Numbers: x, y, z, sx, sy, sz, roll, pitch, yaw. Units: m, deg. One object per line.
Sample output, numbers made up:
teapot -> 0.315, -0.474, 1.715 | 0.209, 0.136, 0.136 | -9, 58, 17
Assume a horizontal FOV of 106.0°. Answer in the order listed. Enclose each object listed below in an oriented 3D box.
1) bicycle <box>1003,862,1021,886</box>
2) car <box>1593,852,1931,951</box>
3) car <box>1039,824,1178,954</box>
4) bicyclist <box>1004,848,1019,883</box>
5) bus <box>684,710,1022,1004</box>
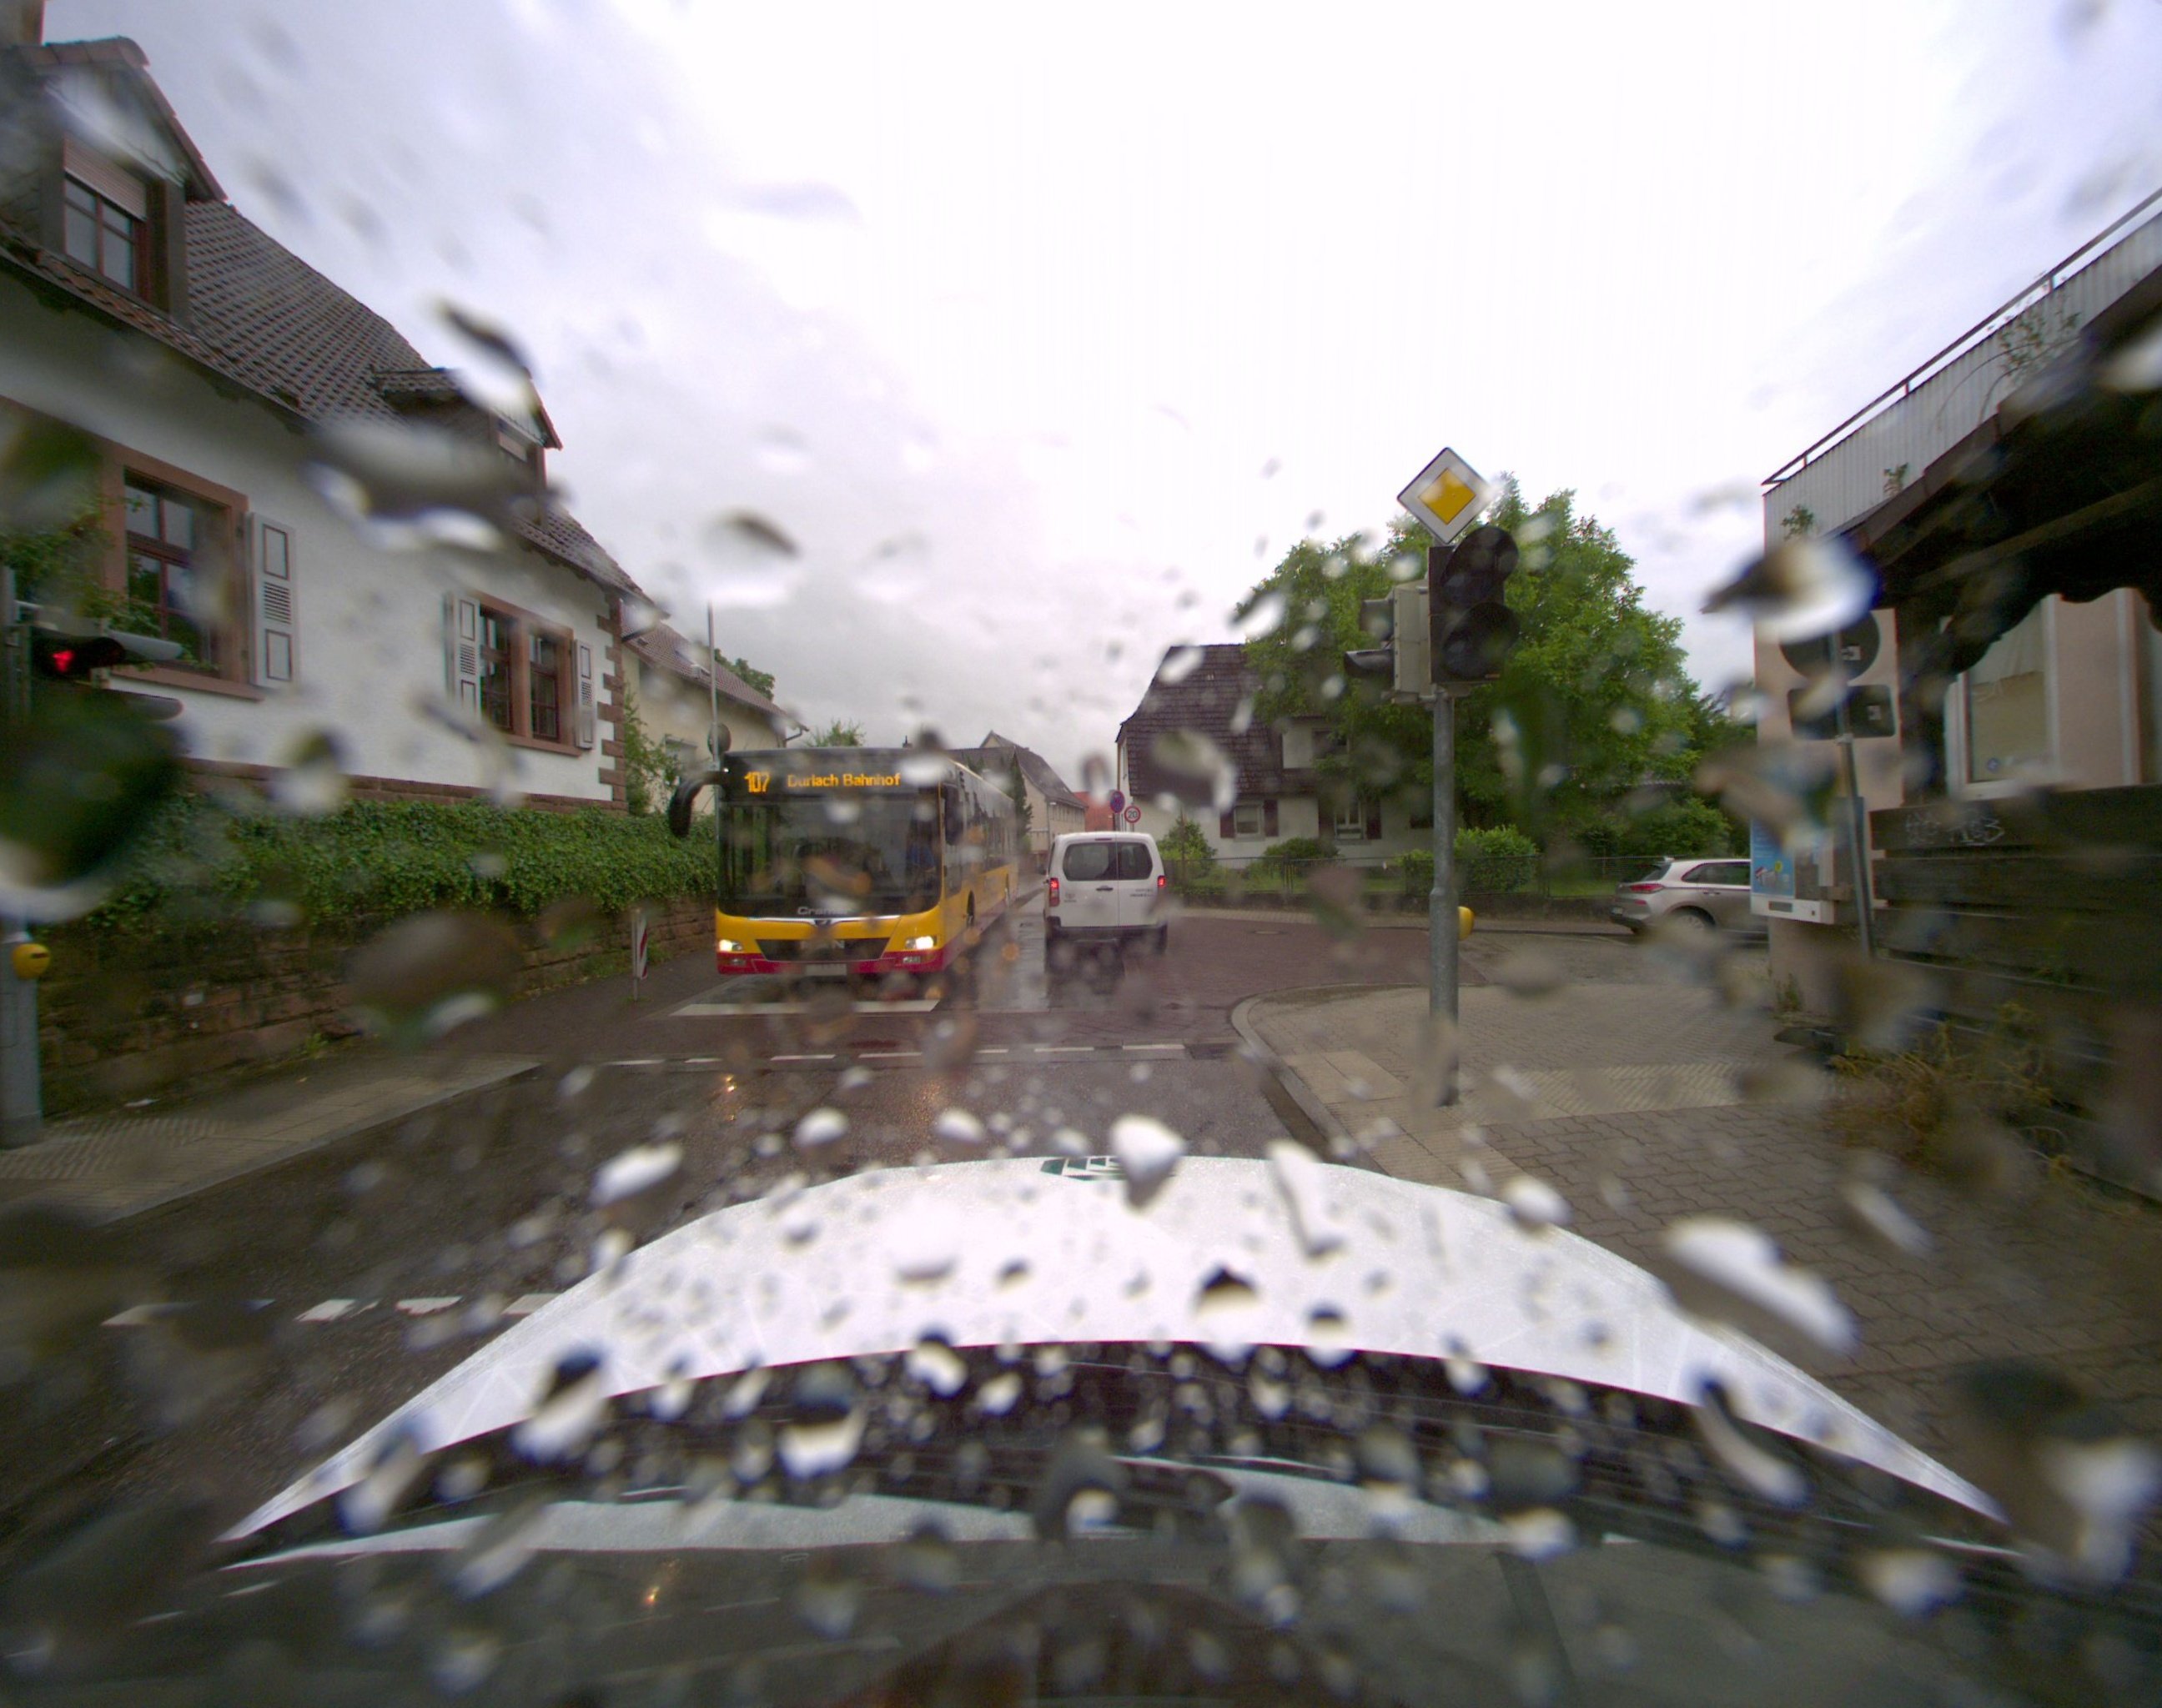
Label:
bicycle -> -3.500, 0.988, 41.304 | 0.543, 1.181, 1.623 | -3, -1, 5
car -> 11.086, 0.717, 13.599 | 3.957, 1.466, 1.791 | 0, -1, 16
car -> 0.284, 0.476, 13.202 | 1.890, 1.794, 3.808 | 0, 0, -4
bicyclist -> -3.539, 0.575, 41.266 | 0.586, 1.707, 0.517 | -3, -1, 4
bus -> -2.793, -0.130, 14.533 | 2.641, 2.999, 12.190 | -1, 1, -1
